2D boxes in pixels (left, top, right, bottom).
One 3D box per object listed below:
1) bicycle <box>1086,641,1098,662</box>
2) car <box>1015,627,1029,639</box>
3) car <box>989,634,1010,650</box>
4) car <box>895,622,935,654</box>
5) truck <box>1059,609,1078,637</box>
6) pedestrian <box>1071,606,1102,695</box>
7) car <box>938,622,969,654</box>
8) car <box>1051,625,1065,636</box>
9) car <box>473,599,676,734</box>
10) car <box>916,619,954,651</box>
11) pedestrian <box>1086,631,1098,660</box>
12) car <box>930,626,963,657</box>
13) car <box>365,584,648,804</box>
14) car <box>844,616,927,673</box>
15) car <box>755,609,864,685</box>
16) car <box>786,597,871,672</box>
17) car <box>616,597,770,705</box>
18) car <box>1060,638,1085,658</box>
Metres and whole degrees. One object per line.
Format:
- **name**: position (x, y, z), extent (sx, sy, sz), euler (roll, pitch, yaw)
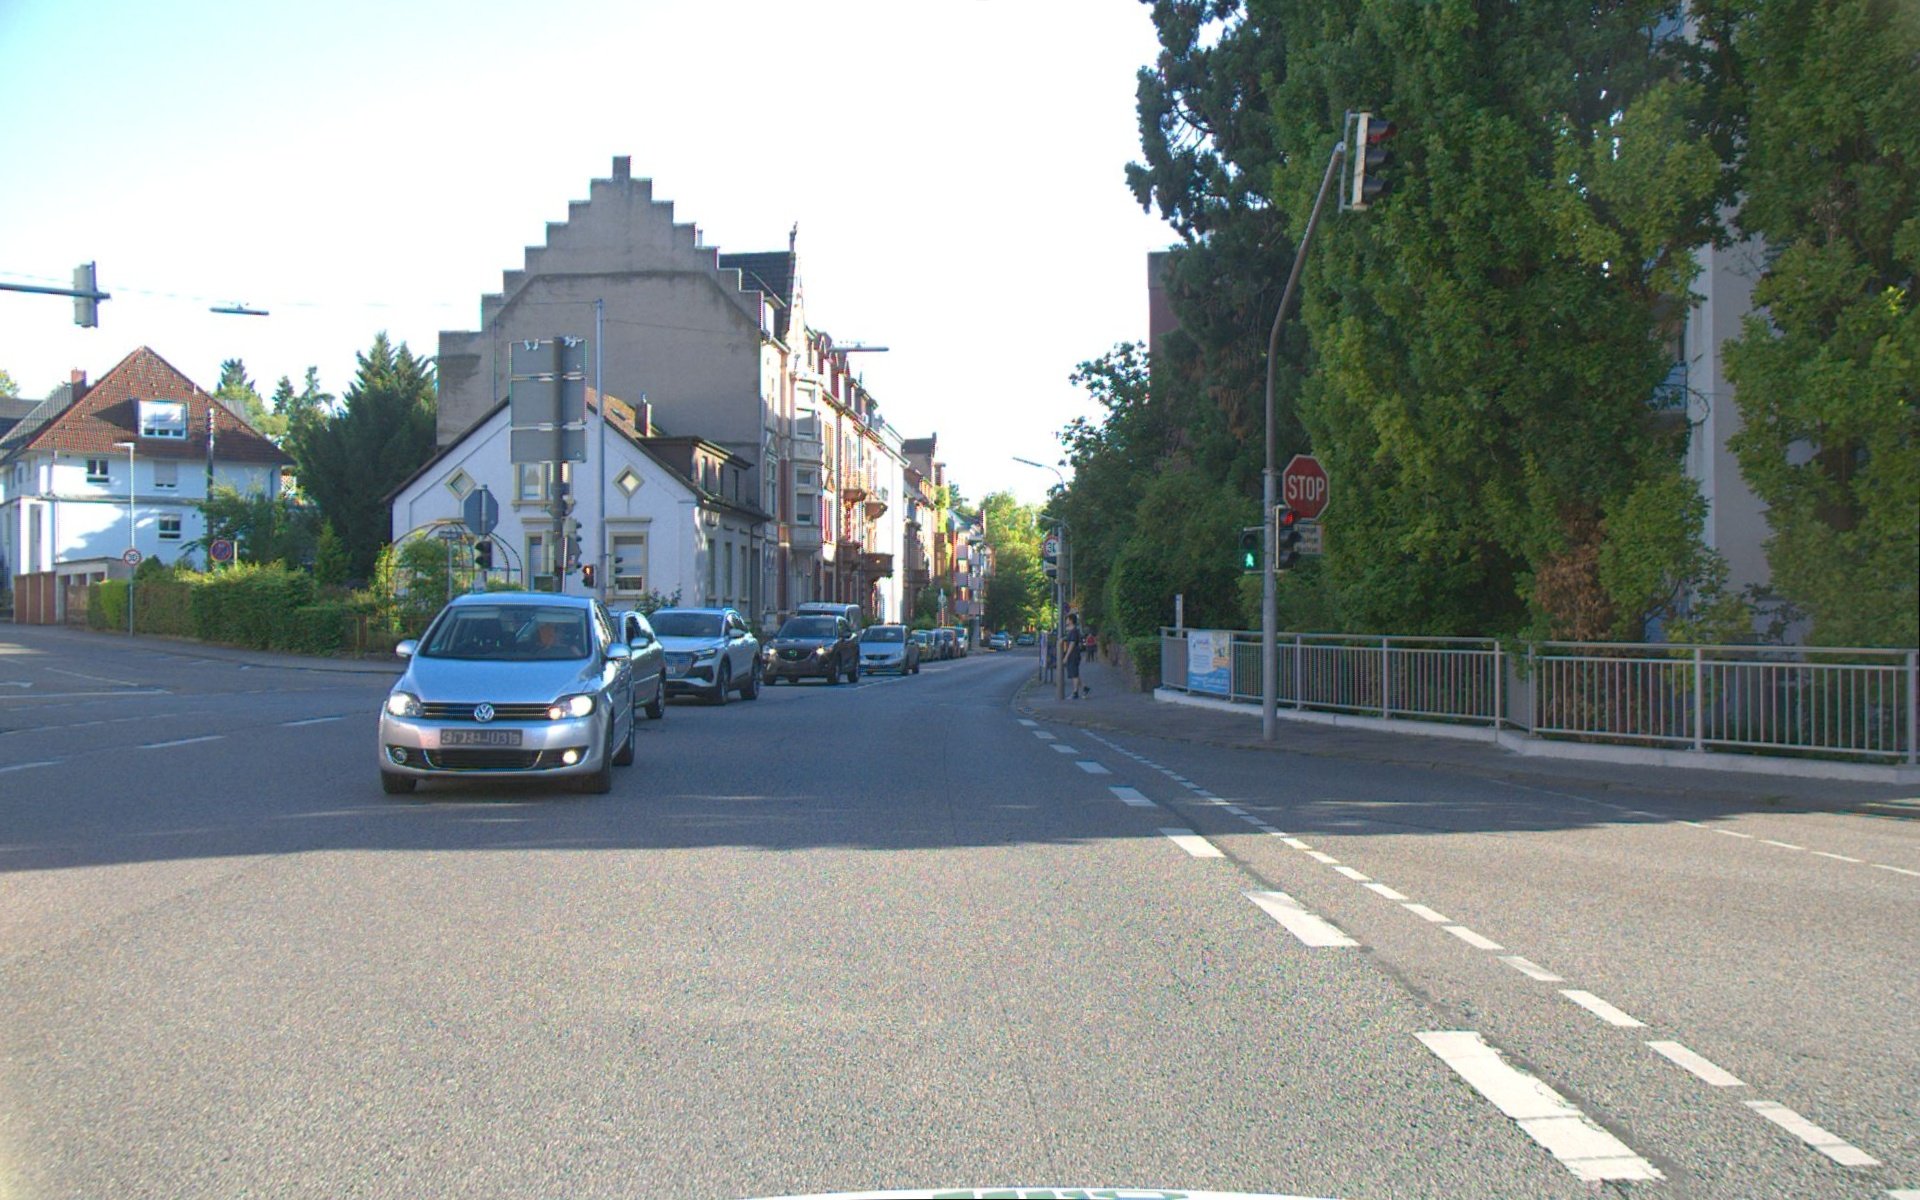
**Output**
- **bicycle**: position (6.634, 2.590, 83.078), extent (0.554, 0.987, 0.492), euler (1, 0, 3)
- **car**: position (8.924, 4.763, 238.157), extent (1.951, 1.518, 4.473), euler (-1, 0, 4)
- **car**: position (4.074, 4.331, 171.817), extent (1.951, 1.518, 4.473), euler (-1, 0, 4)
- **car**: position (-2.299, 1.964, 84.917), extent (1.667, 1.529, 4.073), euler (1, -2, 3)
- **truck**: position (11.834, 2.526, 180.145), extent (1.952, 2.947, 4.472), euler (-1, 0, 4)
- **pedestrian**: position (2.507, 0.996, 32.834), extent (0.589, 1.722, 0.612), euler (-1, 0, 3)
- **car**: position (-0.437, 2.526, 110.744), extent (1.755, 2.046, 4.699), euler (1, -1, 3)
- **car**: position (14.446, 4.491, 244.031), extent (1.952, 1.518, 4.471), euler (-1, 0, 1)
- **car**: position (-4.797, 0.768, 21.121), extent (1.740, 1.506, 4.094), euler (1, 0, -2)
- **car**: position (-1.413, 1.951, 93.822), extent (1.666, 1.737, 4.443), euler (1, -1, 5)
- **pedestrian**: position (6.673, 2.291, 83.664), extent (0.585, 1.427, 0.668), euler (1, 0, 2)
- **car**: position (-0.798, 2.485, 100.091), extent (1.667, 1.769, 3.858), euler (1, -1, 3)
- **car**: position (-3.643, 0.677, 13.941), extent (1.742, 1.570, 3.993), euler (1, 0, -8)
- **car**: position (-2.340, 1.391, 53.005), extent (1.912, 1.677, 4.287), euler (1, 0, 8)
- **car**: position (-3.611, 1.085, 40.373), extent (1.912, 1.677, 4.286), euler (1, 0, 4)
- **car**: position (-4.643, 1.222, 59.313), extent (2.024, 2.503, 6.017), euler (1, -1, 5)
- **car**: position (-4.518, 0.806, 28.654), extent (1.738, 1.677, 4.536), euler (1, 0, 2)
- **car**: position (9.486, 4.011, 138.872), extent (1.951, 1.544, 4.003), euler (-1, 0, 6)
